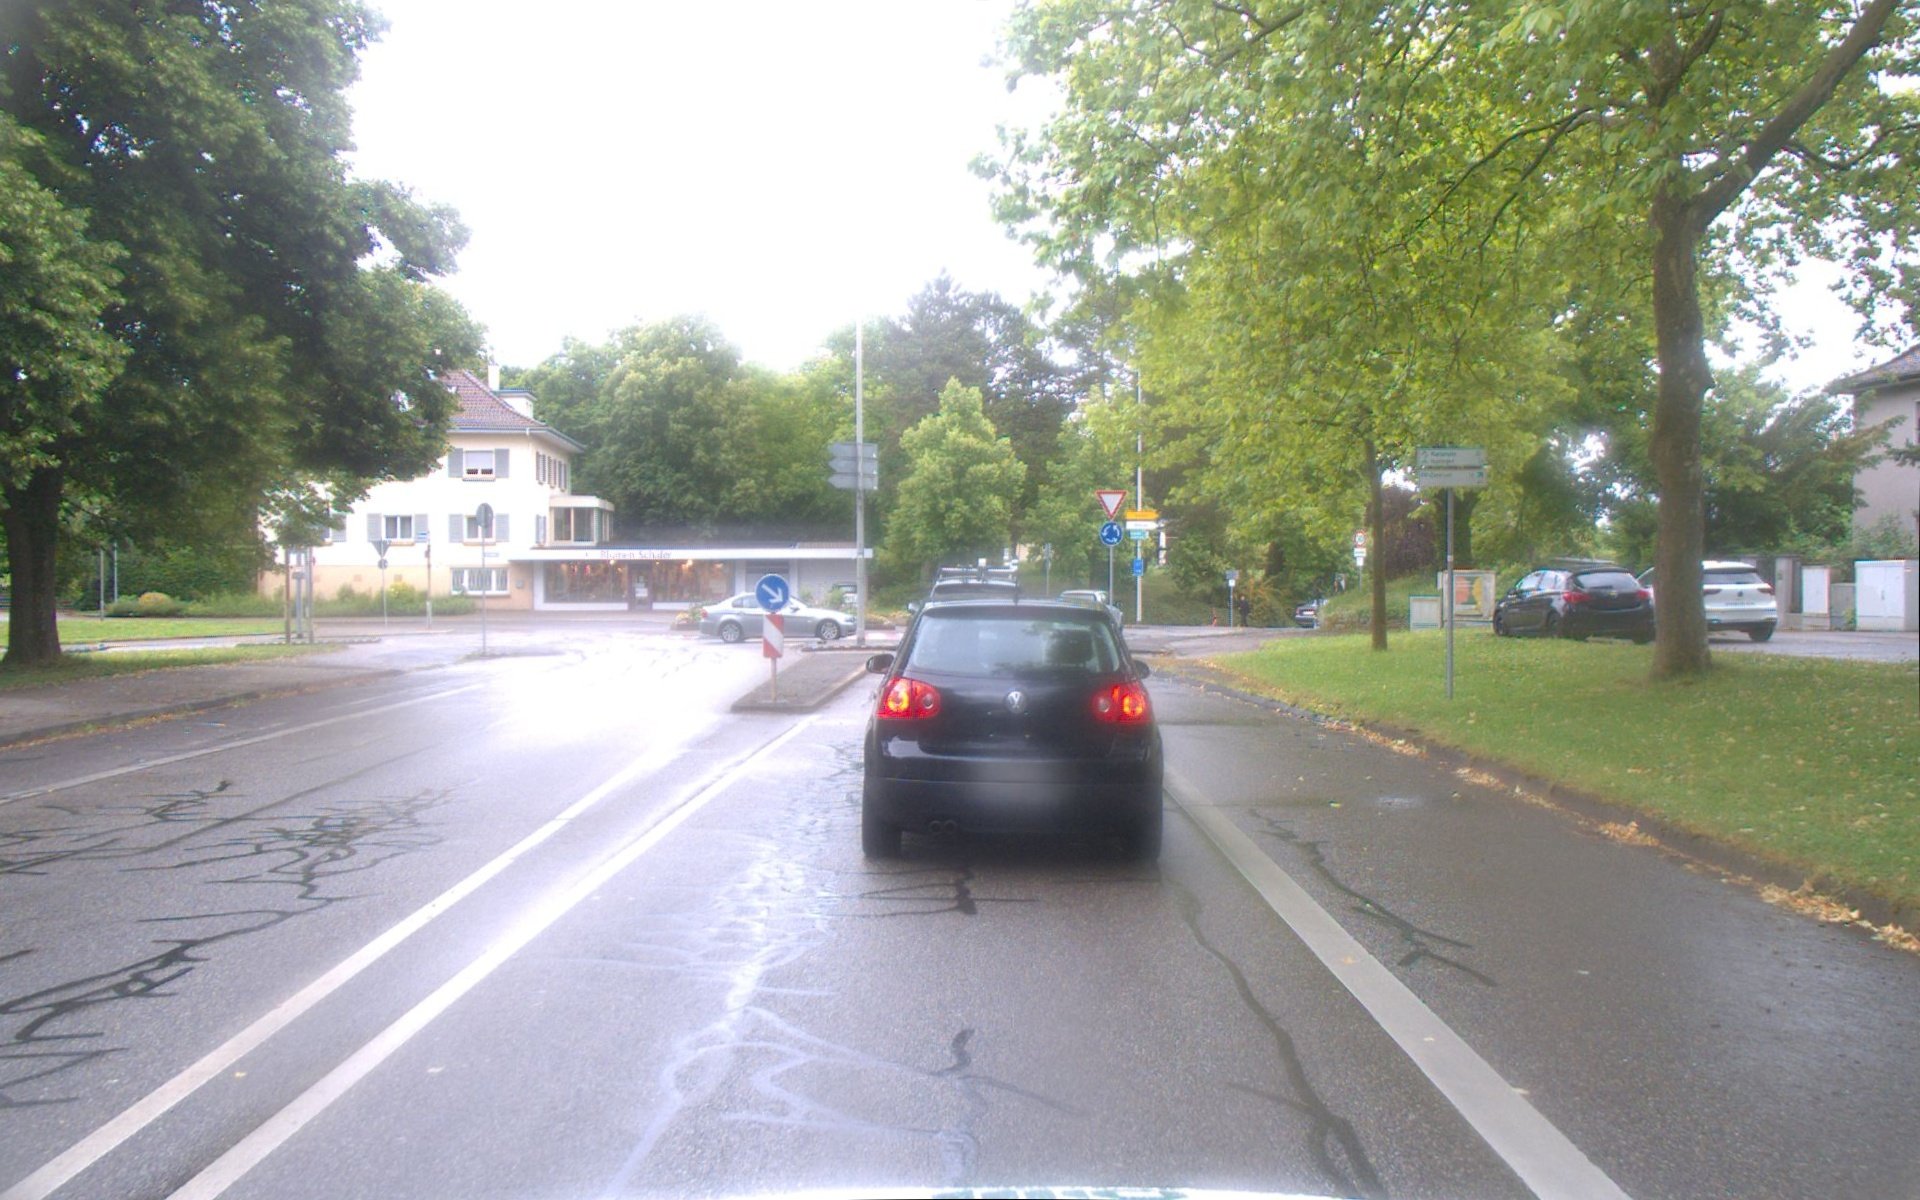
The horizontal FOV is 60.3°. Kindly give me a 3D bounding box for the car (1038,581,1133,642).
[{"bbox_3d":[3.945,0.357,51.404,1.952,1.772,4.145,1,0,19],"label":"car"}]

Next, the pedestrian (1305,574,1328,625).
[{"bbox_3d":[12.410,-0.009,57.566,0.519,1.743,0.633,1,0,-15],"label":"pedestrian"}]

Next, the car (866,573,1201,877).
[{"bbox_3d":[0.364,0.636,10.679,1.729,1.565,4.000,1,1,-1],"label":"car"}]

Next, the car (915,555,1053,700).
[{"bbox_3d":[0.252,0.355,23.477,1.729,1.833,4.244,-1,0,-2],"label":"car"}]

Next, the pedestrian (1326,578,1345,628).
[{"bbox_3d":[13.227,0.109,58.281,0.620,1.743,0.530,1,0,16],"label":"pedestrian"}]

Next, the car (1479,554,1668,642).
[{"bbox_3d":[11.607,-0.026,31.644,1.729,1.496,4.596,-2,0,-2],"label":"car"}]

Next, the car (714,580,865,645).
[{"bbox_3d":[-4.770,0.345,46.685,3.935,1.713,2.001,1,0,3],"label":"car"}]

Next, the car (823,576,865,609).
[{"bbox_3d":[-5.598,-0.370,79.731,1.778,1.512,3.825,-1,1,-7],"label":"car"}]

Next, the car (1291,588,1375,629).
[{"bbox_3d":[14.910,0.370,65.996,1.958,1.557,3.988,1,0,33],"label":"car"}]

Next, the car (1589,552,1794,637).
[{"bbox_3d":[14.009,-0.098,31.963,1.808,1.497,4.423,-1,0,-3],"label":"car"}]
